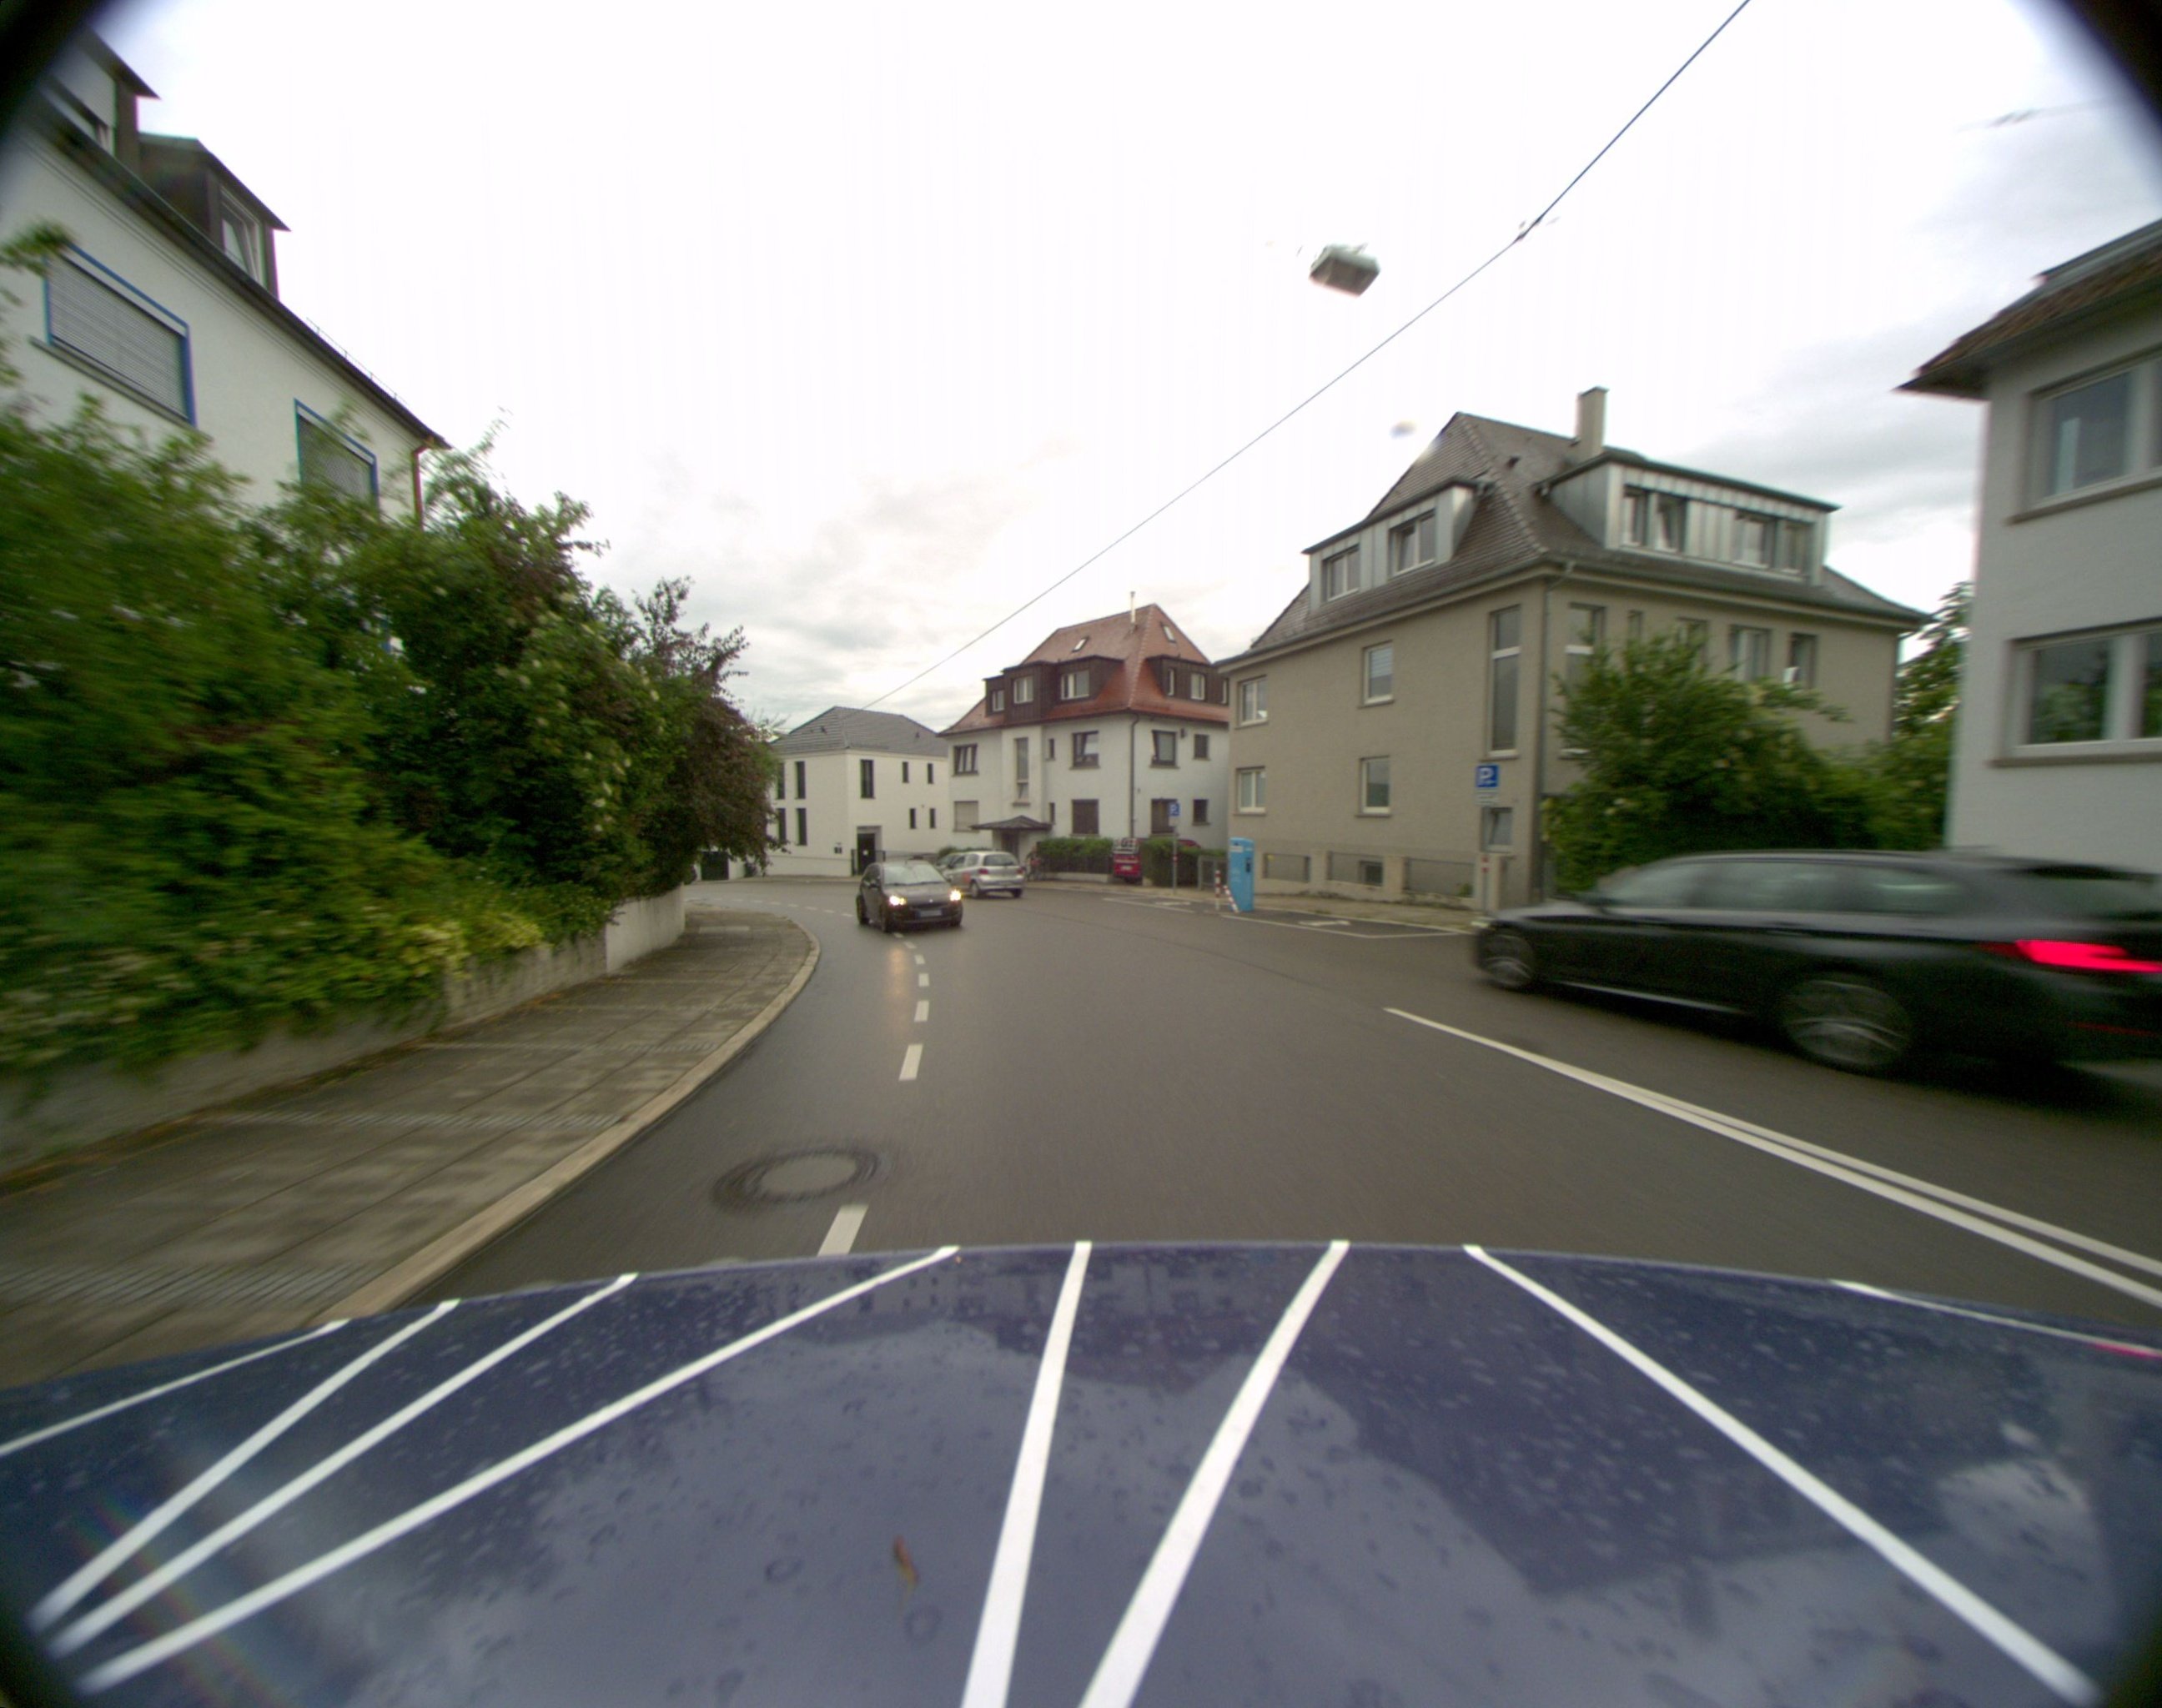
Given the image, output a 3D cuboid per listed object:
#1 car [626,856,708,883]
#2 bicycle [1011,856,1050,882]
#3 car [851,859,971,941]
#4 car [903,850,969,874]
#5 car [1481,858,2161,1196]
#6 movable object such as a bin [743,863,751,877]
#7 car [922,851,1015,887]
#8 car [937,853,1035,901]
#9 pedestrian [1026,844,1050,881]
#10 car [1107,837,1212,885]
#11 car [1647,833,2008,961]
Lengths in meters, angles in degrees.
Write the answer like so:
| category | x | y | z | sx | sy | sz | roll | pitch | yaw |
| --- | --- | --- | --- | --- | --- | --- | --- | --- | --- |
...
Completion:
| category | x | y | z | sx | sy | sz | roll | pitch | yaw |
| --- | --- | --- | --- | --- | --- | --- | --- | --- | --- |
| car | -25.874 | 0.997 | 47.450 | 4.978 | 1.477 | 1.837 | -2 | 3 | 26 |
| bicycle | -2.223 | 0.666 | 33.537 | 1.916 | 1.061 | 0.458 | -1 | 3 | 43 |
| car | -3.900 | 0.930 | 17.038 | 1.683 | 1.405 | 3.628 | -6 | 4 | -26 |
| car | -9.183 | 0.521 | 48.479 | 1.737 | 1.344 | 4.010 | 2 | -1 | 34 |
| car | 5.620 | 0.845 | 6.033 | 1.876 | 1.483 | 4.632 | 0 | 1 | -9 |
| movable object such as a bin | -21.997 | 1.058 | 50.033 | 0.282 | 0.907 | 0.372 | -1 | 1 | 26 |
| car | -4.963 | 0.638 | 33.122 | 1.845 | 1.417 | 4.217 | -3 | 2 | -44 |
| car | -3.174 | 0.701 | 24.803 | 1.495 | 1.415 | 3.846 | 2 | 0 | -36 |
| pedestrian | -1.925 | 0.387 | 34.094 | 0.492 | 1.568 | 0.949 | -1 | 3 | 41 |
| car | 3.241 | 0.316 | 31.022 | 4.008 | 1.812 | 1.995 | 1 | -1 | -38 |
| car | 11.575 | 0.562 | 11.918 | 4.254 | 1.614 | 1.997 | -3 | 2 | -12 |
